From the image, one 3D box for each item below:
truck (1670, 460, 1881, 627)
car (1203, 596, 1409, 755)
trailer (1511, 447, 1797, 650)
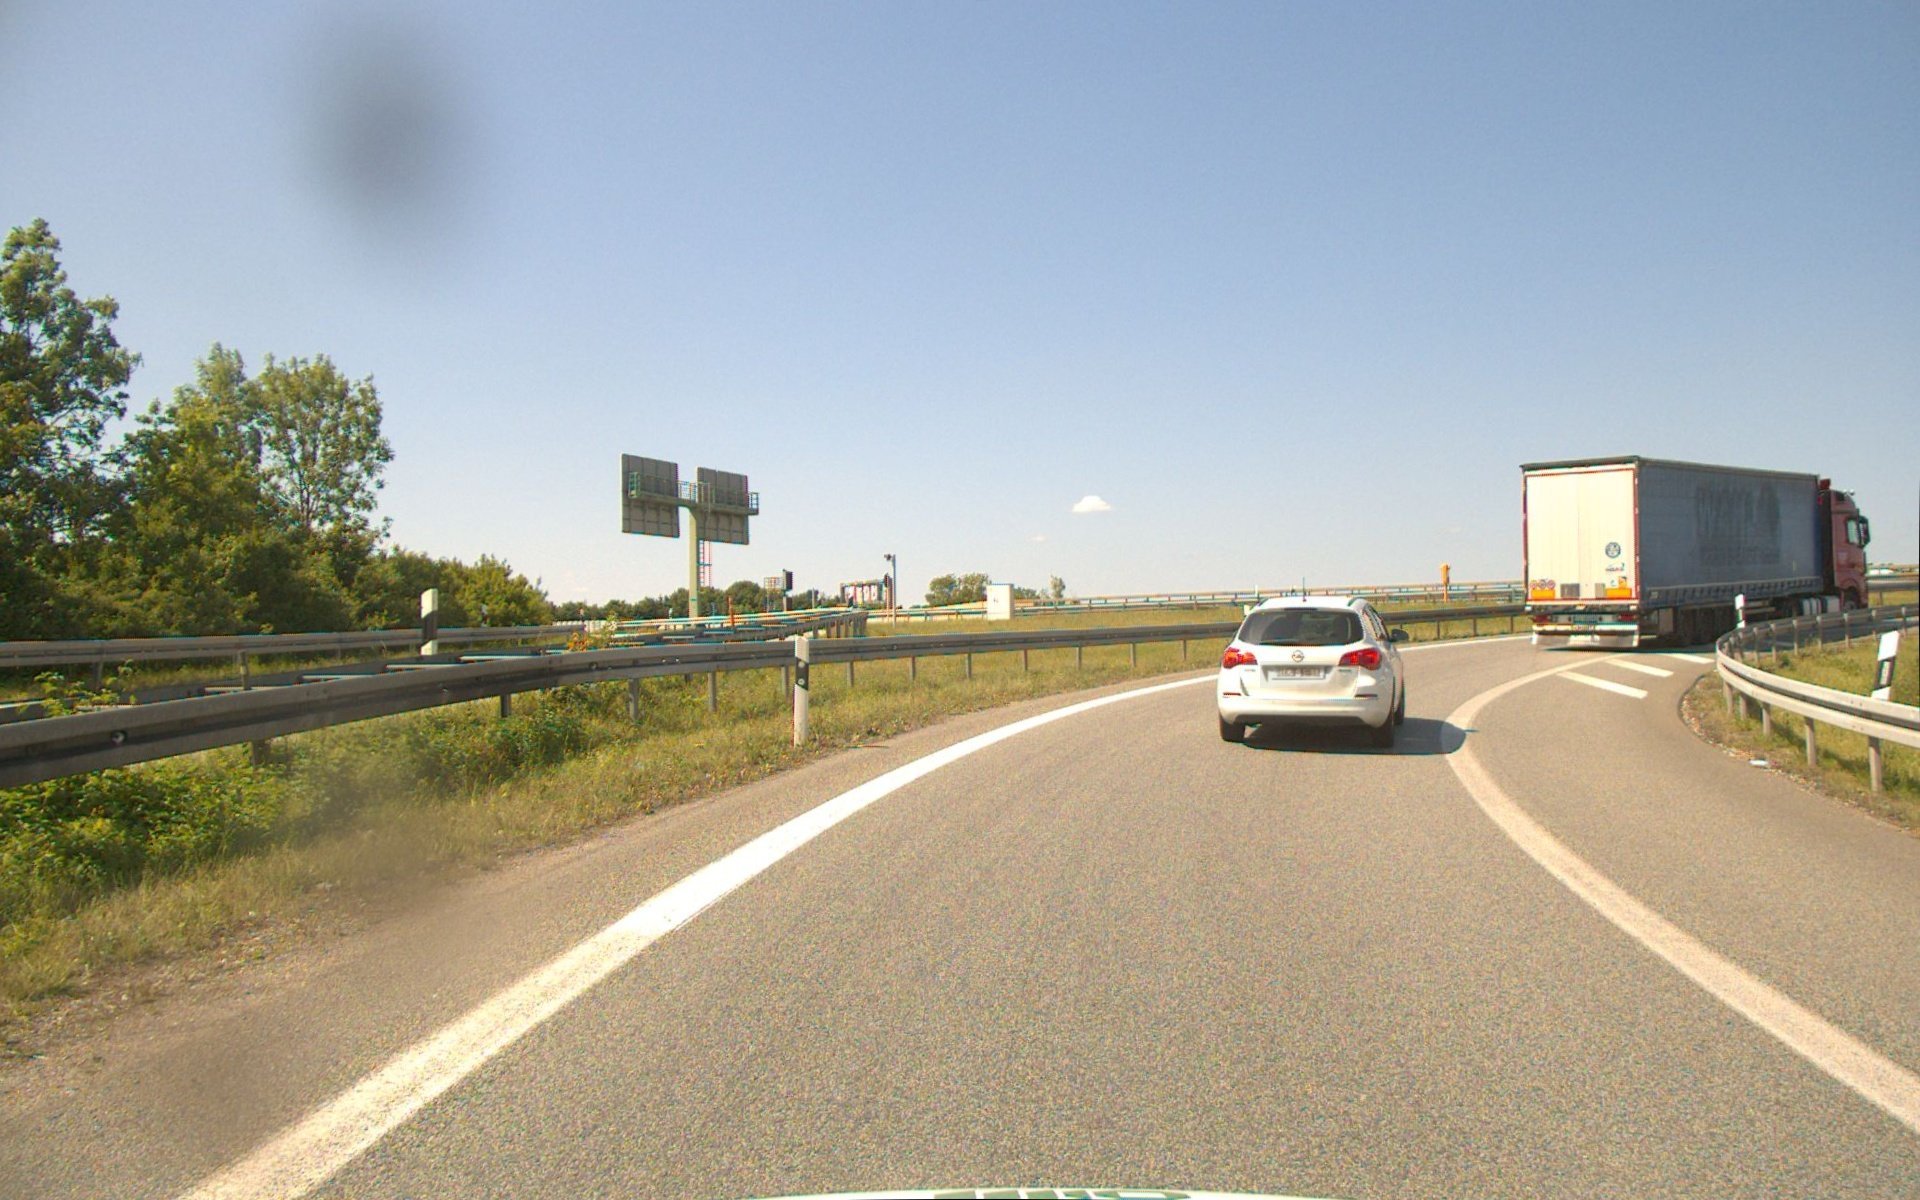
[{"bbox_3d":[22.434,-1.505,45.332,6.869,4.217,2.876,-2,1,-43],"label":"truck"},{"bbox_3d":[3.893,0.715,18.079,1.815,1.468,4.374,0,1,17],"label":"car"},{"bbox_3d":[16.867,-1.191,39.536,2.869,4.217,11.193,-1,1,41],"label":"trailer"}]
